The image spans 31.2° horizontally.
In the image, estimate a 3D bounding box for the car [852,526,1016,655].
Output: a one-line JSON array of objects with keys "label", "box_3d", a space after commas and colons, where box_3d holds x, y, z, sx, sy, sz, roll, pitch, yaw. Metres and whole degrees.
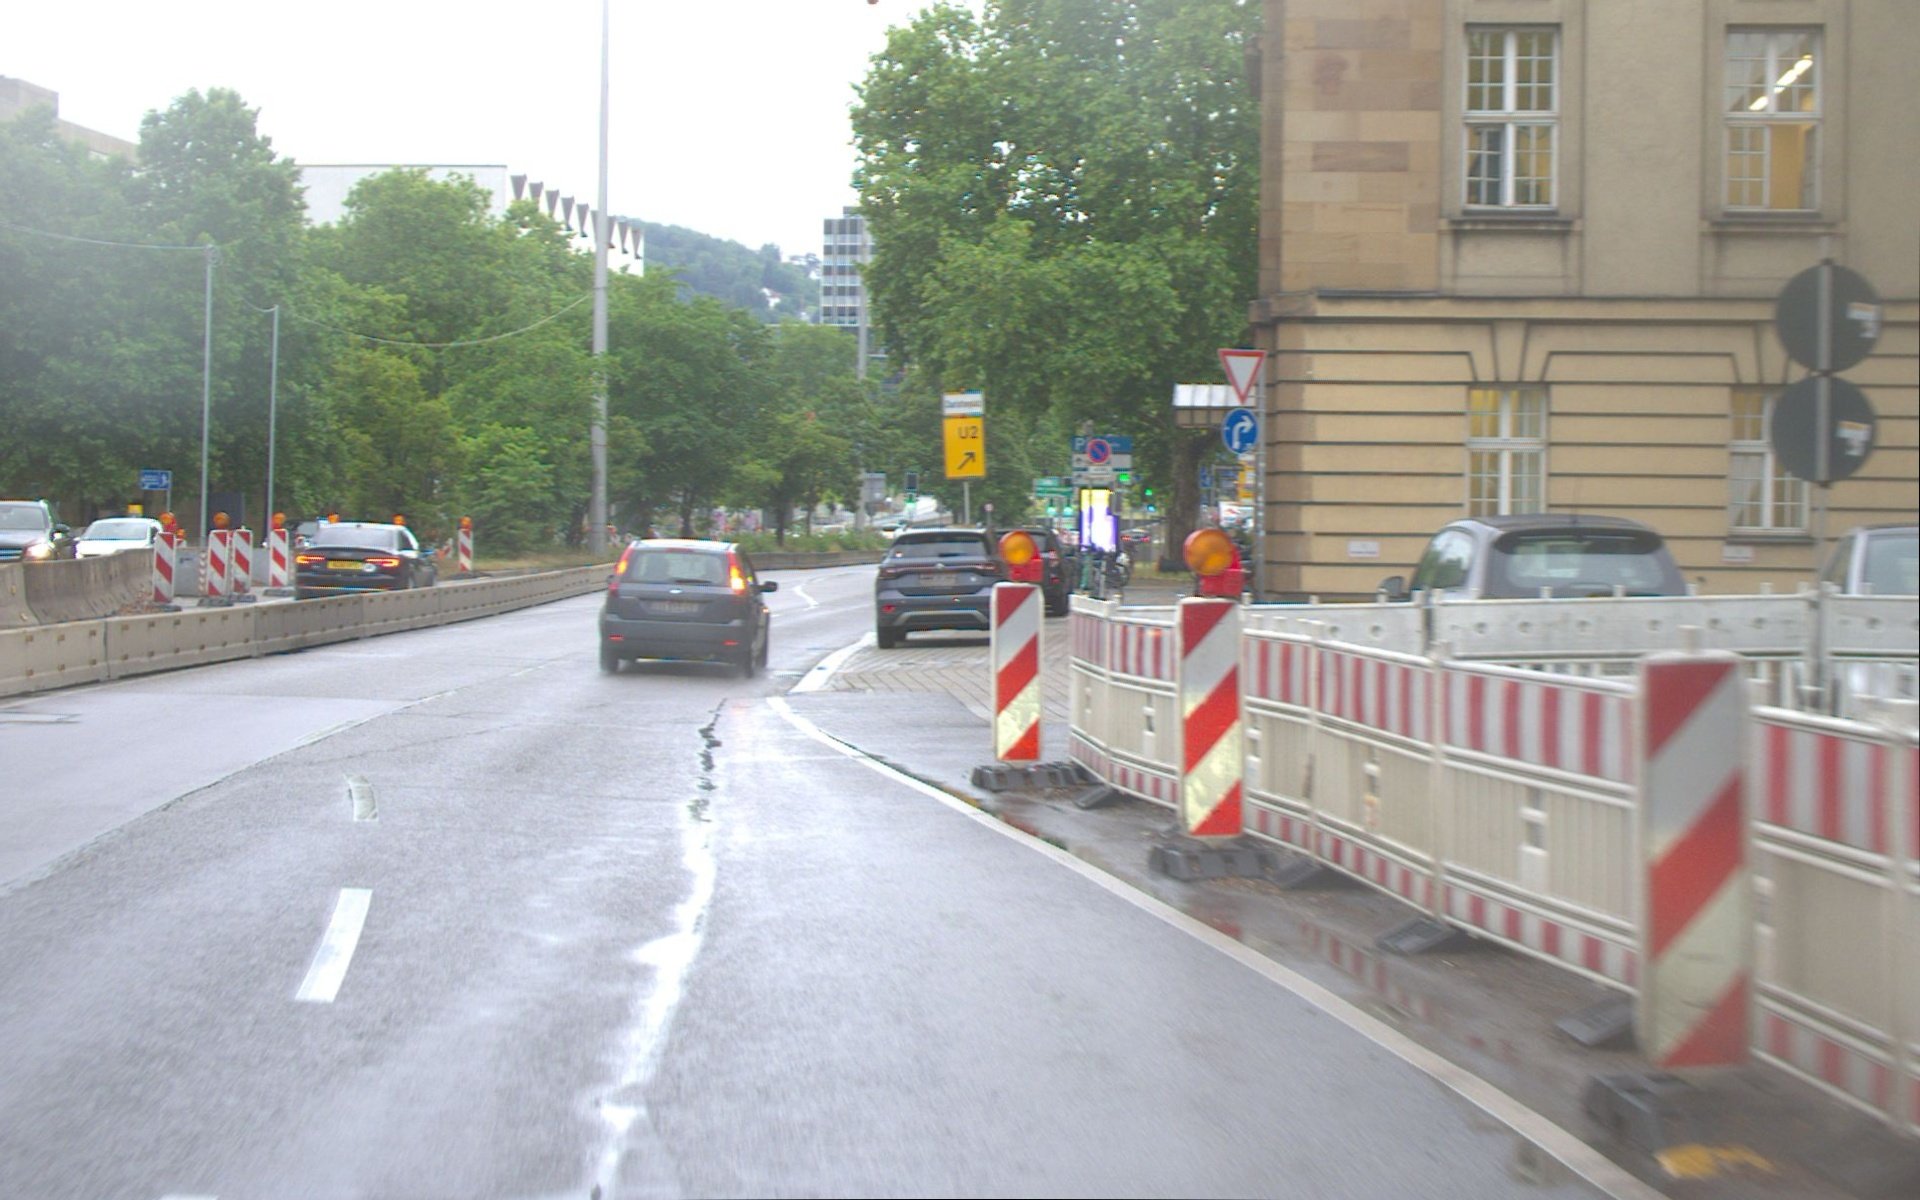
[{"label": "car", "box_3d": [-0.293, -0.169, 45.351, 1.871, 1.613, 4.404, 0, 1, 3]}]

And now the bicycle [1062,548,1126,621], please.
[{"label": "bicycle", "box_3d": [2.258, -0.273, 58.127, 0.775, 1.214, 1.966, -1, 1, -7]}]

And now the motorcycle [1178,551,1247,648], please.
[{"label": "motorcycle", "box_3d": [3.505, -0.016, 47.618, 0.807, 1.294, 1.798, 2, 1, 8]}]

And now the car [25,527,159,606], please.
[{"label": "car", "box_3d": [-18.015, -0.717, 71.513, 1.993, 1.525, 4.001, 1, 1, -4]}]

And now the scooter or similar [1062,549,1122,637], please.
[{"label": "scooter or similar", "box_3d": [1.978, -0.112, 51.775, 0.433, 1.288, 1.258, 1, 1, -20]}]

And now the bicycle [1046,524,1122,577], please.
[{"label": "bicycle", "box_3d": [3.245, -1.307, 89.923, 1.906, 1.328, 0.650, 2, 1, 6]}]

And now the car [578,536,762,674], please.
[{"label": "car", "box_3d": [-3.205, 0.041, 37.401, 1.843, 1.411, 3.840, 0, 0, -7]}]

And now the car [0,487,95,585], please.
[{"label": "car", "box_3d": [-15.597, -1.083, 56.273, 1.920, 1.525, 4.762, 1, 1, -4]}]

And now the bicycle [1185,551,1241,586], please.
[{"label": "bicycle", "box_3d": [7.935, -0.986, 107.863, 1.641, 1.017, 0.575, 3, 1, 9]}]

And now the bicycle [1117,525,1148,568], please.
[{"label": "bicycle", "box_3d": [4.884, -1.505, 97.216, 0.605, 1.193, 1.904, 0, 0, 12]}]

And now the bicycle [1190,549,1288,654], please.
[{"label": "bicycle", "box_3d": [3.631, 0.011, 44.881, 1.102, 1.312, 1.859, 2, 1, 0]}]

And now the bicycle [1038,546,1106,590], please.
[{"label": "bicycle", "box_3d": [2.916, -0.836, 89.545, 1.679, 1.086, 0.650, 2, 1, 6]}]

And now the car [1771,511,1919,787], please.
[{"label": "car", "box_3d": [5.862, 0.266, 20.588, 1.581, 1.532, 3.020, 0, 0, 6]}]

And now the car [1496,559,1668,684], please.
[{"label": "car", "box_3d": [7.431, 0.223, 41.378, 1.521, 1.406, 4.127, 1, 1, 3]}]

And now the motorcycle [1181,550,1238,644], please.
[{"label": "motorcycle", "box_3d": [3.634, -0.048, 49.922, 0.667, 1.321, 2.134, 2, 1, 8]}]

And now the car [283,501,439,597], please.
[{"label": "car", "box_3d": [-9.456, -0.809, 54.493, 1.754, 1.447, 4.000, -1, 1, 0]}]

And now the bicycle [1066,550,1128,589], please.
[{"label": "bicycle", "box_3d": [3.651, -0.822, 91.537, 1.590, 0.991, 0.524, 2, 1, 6]}]

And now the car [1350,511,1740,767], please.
[{"label": "car", "box_3d": [3.695, 0.229, 22.294, 1.687, 1.489, 3.621, 1, 0, -3]}]

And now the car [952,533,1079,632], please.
[{"label": "car", "box_3d": [1.090, -0.337, 65.522, 1.994, 1.775, 4.187, 2, 1, 6]}]
